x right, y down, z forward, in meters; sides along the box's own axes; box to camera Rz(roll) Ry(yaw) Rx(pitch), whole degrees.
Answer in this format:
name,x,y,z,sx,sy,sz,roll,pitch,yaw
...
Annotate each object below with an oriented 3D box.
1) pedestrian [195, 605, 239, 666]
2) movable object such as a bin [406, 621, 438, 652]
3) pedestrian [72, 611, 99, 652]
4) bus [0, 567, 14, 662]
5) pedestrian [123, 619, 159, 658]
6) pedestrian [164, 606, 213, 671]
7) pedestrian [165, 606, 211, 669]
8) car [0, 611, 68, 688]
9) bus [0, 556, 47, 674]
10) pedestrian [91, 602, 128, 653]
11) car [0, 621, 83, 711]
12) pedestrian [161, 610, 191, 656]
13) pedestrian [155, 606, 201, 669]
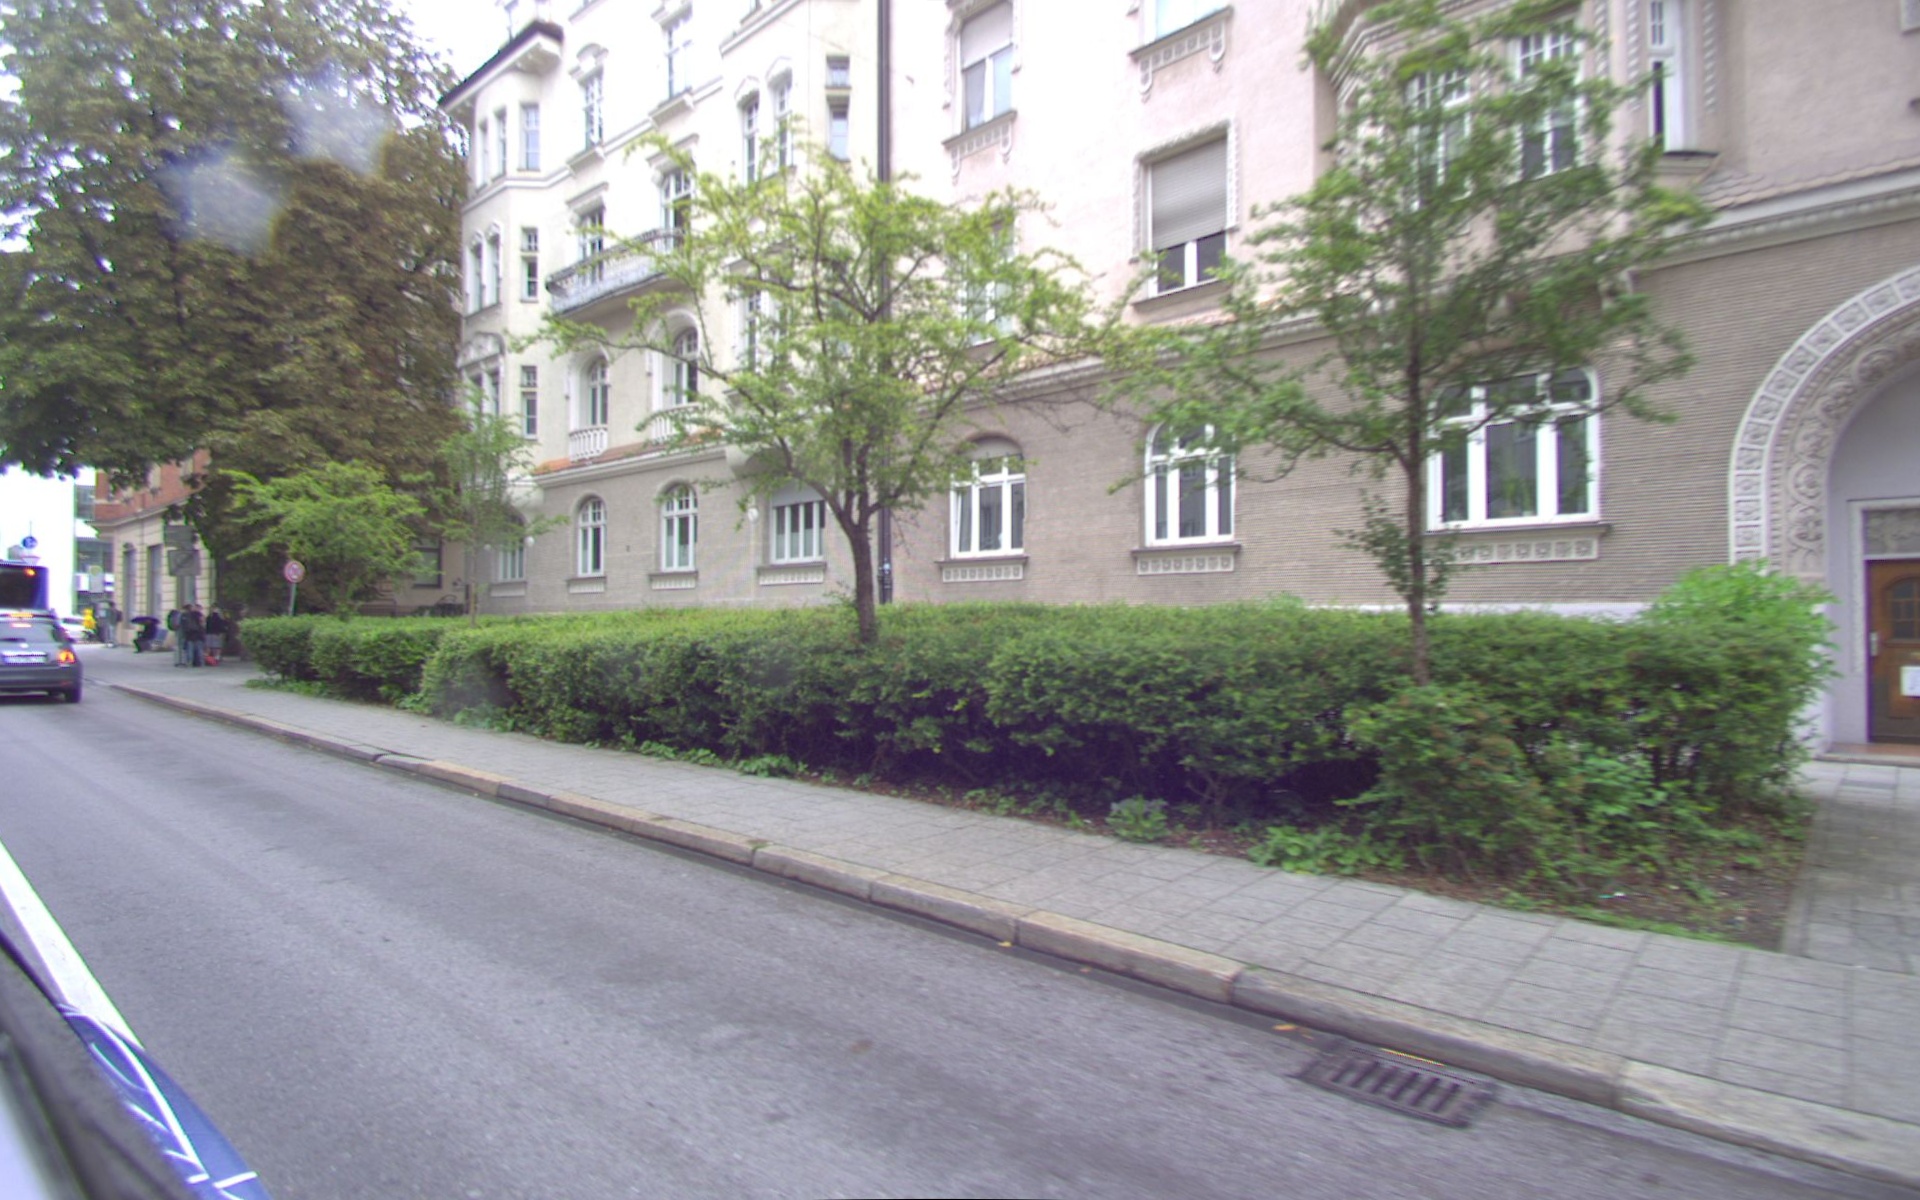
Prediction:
name,x,y,z,sx,sy,sz,roll,pitch,yaw
pedestrian,-22.039,1.048,30.044,0.773,1.758,0.878,1,-2,-16
movable object such as a bin,-19.908,1.340,37.458,0.844,1.100,0.814,1,-1,-44
pedestrian,-43.989,1.591,50.924,0.938,2.029,1.399,1,-2,-38
bus,-35.583,0.511,35.652,9.107,3.124,2.551,-1,-2,43
pedestrian,-28.666,1.339,35.441,0.753,1.351,0.820,-1,-2,40
pedestrian,-21.342,1.065,27.987,0.847,1.758,0.898,-1,-2,41
pedestrian,-21.873,1.060,28.684,0.786,1.758,0.864,-1,-2,41
car,-22.060,1.102,23.313,4.272,1.657,1.749,-1,-2,42
bus,-29.011,0.446,29.598,8.922,3.124,2.551,-1,-2,43
pedestrian,-34.283,1.094,40.795,0.769,2.029,0.831,0,-1,-1
car,-17.132,1.124,18.190,3.781,1.490,1.567,-1,-2,42
pedestrian,-26.574,1.113,34.319,0.753,1.550,0.618,-1,-2,40
pedestrian,-22.583,1.074,29.224,0.910,1.758,0.864,-1,-2,41
